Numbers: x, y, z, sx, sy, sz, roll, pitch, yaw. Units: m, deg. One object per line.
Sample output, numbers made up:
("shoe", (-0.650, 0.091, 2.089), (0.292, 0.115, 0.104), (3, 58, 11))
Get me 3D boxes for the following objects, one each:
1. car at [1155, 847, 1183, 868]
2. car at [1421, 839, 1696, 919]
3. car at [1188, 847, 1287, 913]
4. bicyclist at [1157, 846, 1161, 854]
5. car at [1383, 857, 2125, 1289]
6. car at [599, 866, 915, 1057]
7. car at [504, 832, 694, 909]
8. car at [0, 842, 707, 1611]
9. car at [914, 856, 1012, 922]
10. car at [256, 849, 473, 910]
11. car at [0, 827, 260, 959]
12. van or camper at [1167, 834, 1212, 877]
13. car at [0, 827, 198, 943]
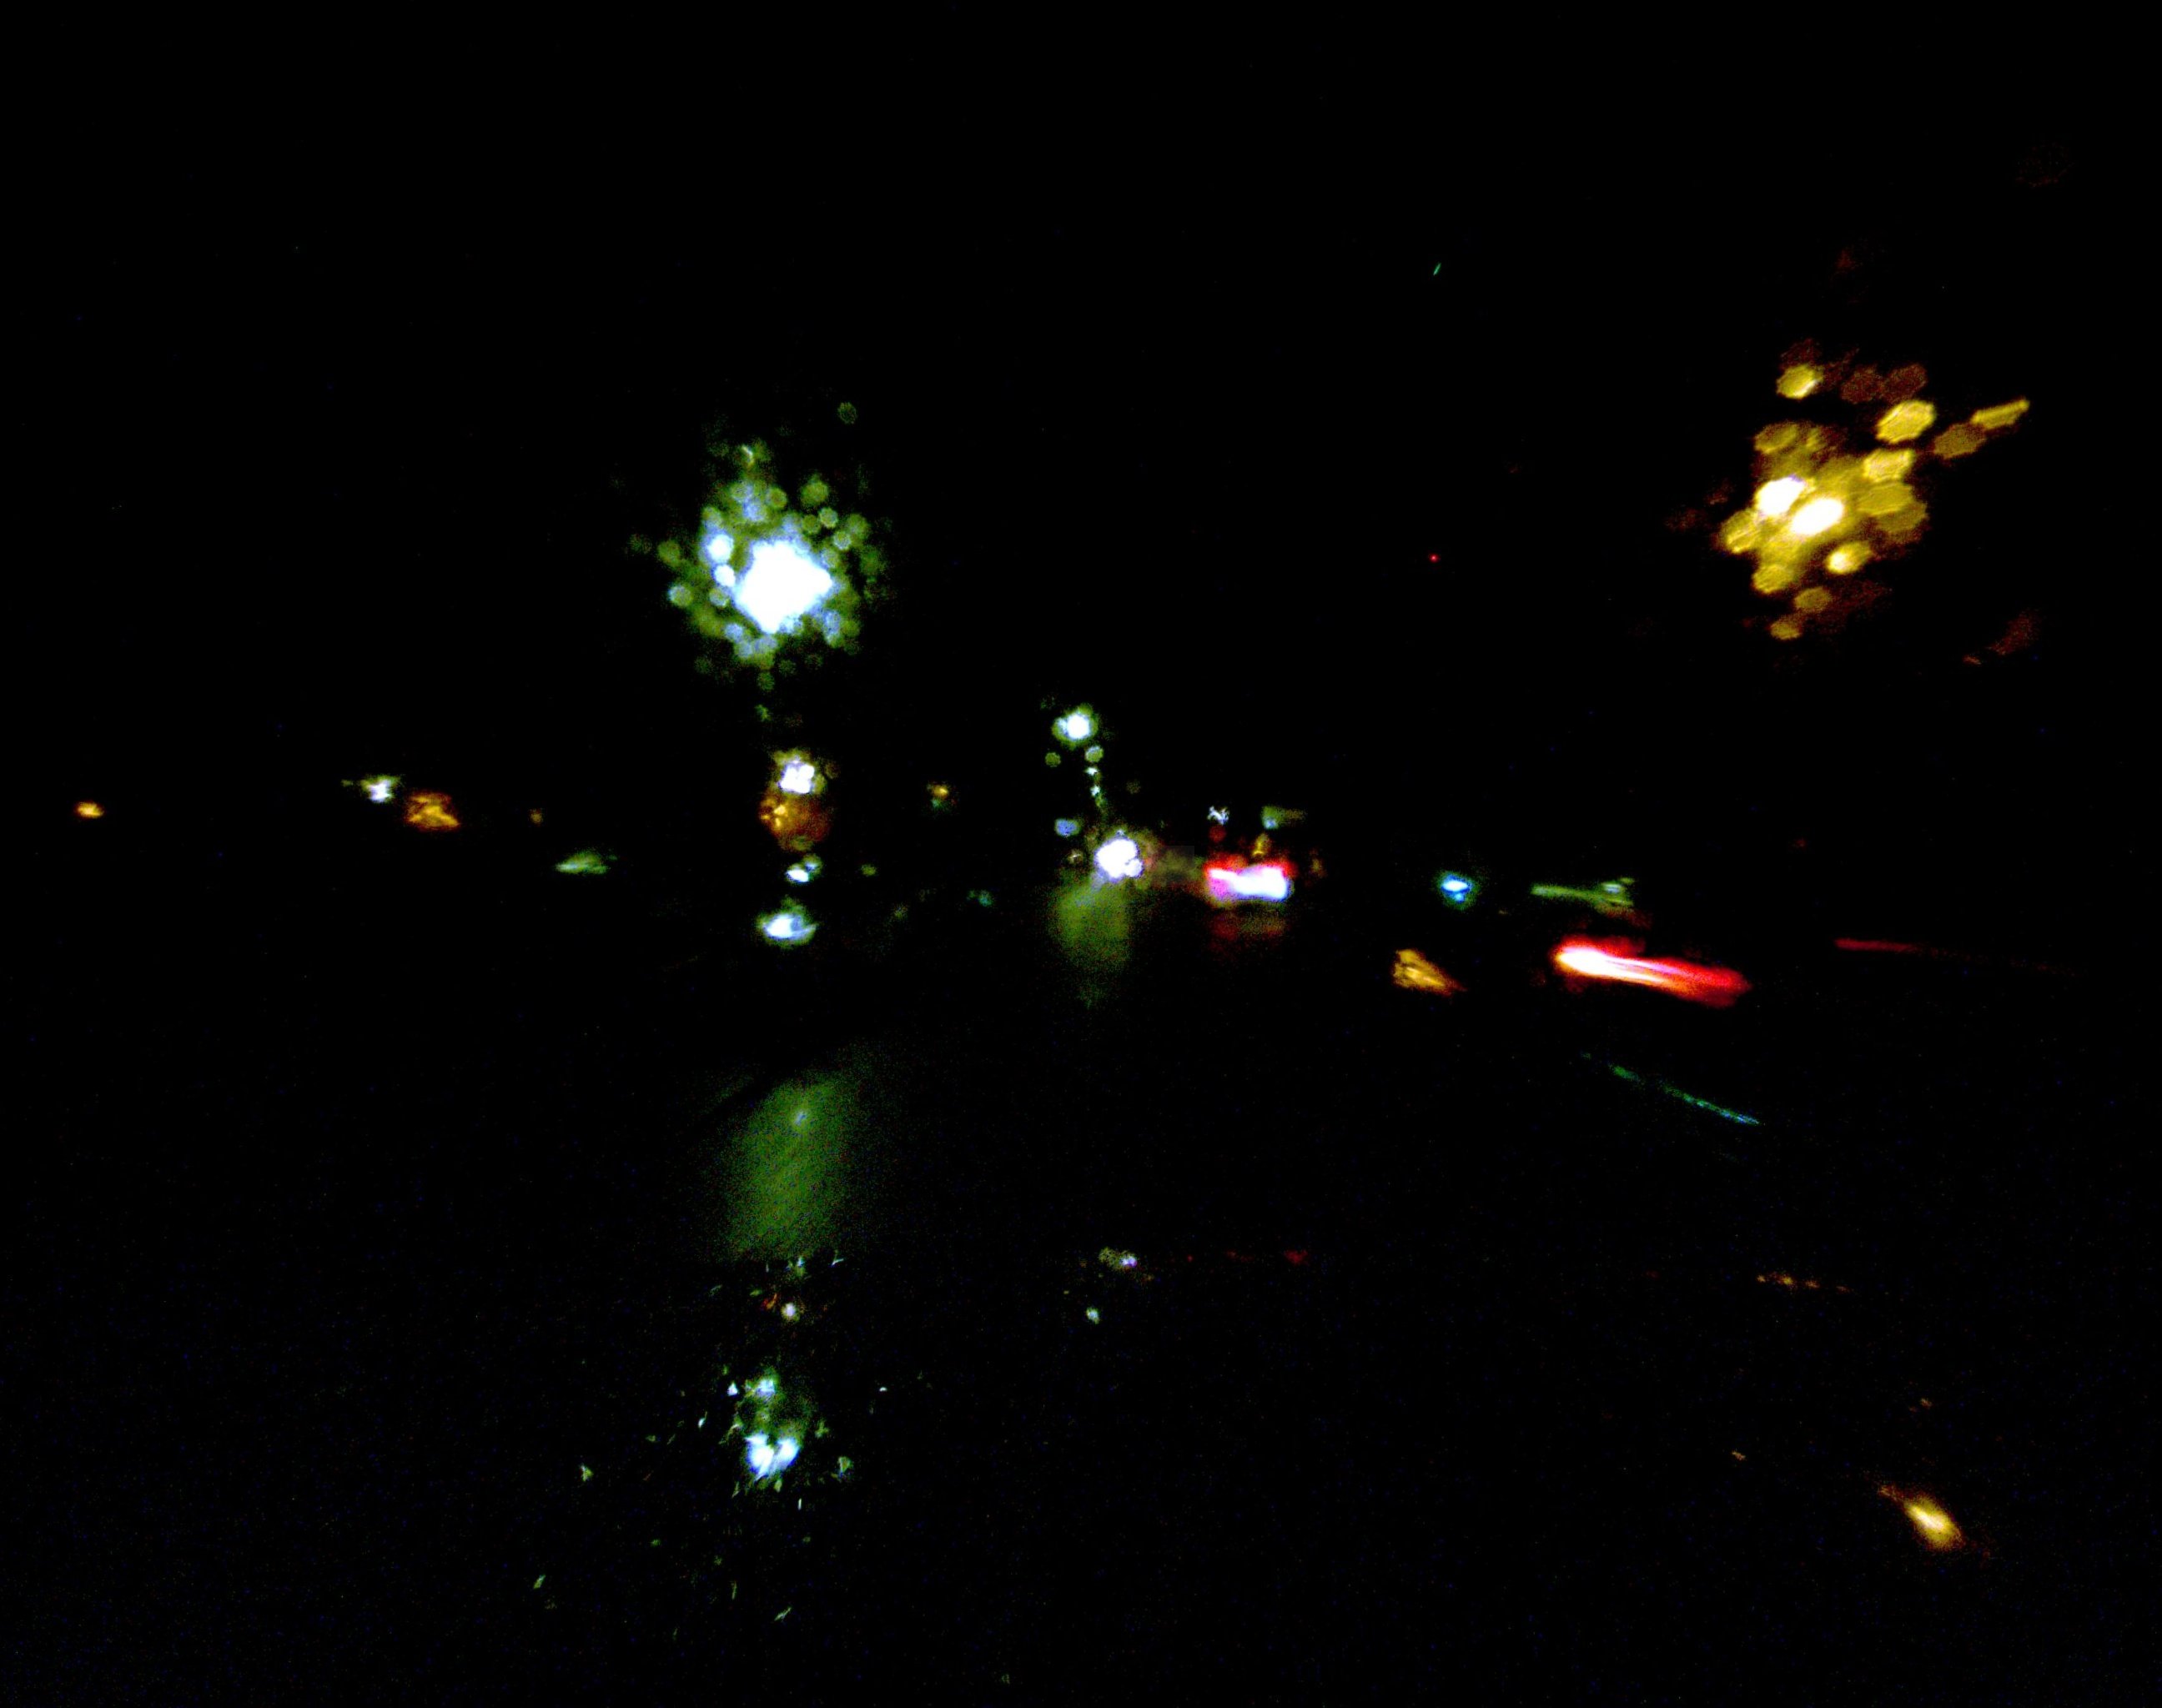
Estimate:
("car", (6.236, 0.235, 54.199), (1.749, 1.425, 4.001), (0, 0, 4))
("car", (10.207, 0.518, 16.638), (4.697, 1.609, 2.002), (0, -1, 11))
("car", (3.923, 0.581, 19.718), (1.800, 1.453, 4.578), (-2, 0, 3))
("bicyclist", (16.309, -0.818, 159.046), (0.638, 1.585, 0.961), (-1, -1, 2))
("car", (2.959, 0.795, 4.112), (1.551, 1.490, 2.793), (-2, 0, 1))
("car", (-3.239, 0.954, 8.675), (1.717, 1.480, 4.436), (1, 1, 0))
("car", (-12.015, 0.357, 19.366), (1.908, 1.686, 4.259), (-2, 1, 3))
("car", (-3.297, 0.834, 2.891), (1.717, 1.698, 4.186), (2, 0, -1))
("car", (-2.929, 0.805, 19.840), (1.794, 1.440, 4.790), (2, 0, 0))
("car", (-19.686, 0.633, 21.200), (1.830, 1.459, 4.259), (-2, 1, 3))
("car", (-12.693, 0.427, 9.271), (1.566, 1.461, 3.408), (0, 0, 2))
("van or camper", (5.519, 0.064, 39.172), (1.874, 2.091, 4.943), (0, 1, 3))
("car", (-15.233, 0.404, 9.828), (1.833, 1.538, 4.867), (0, 0, 2))
